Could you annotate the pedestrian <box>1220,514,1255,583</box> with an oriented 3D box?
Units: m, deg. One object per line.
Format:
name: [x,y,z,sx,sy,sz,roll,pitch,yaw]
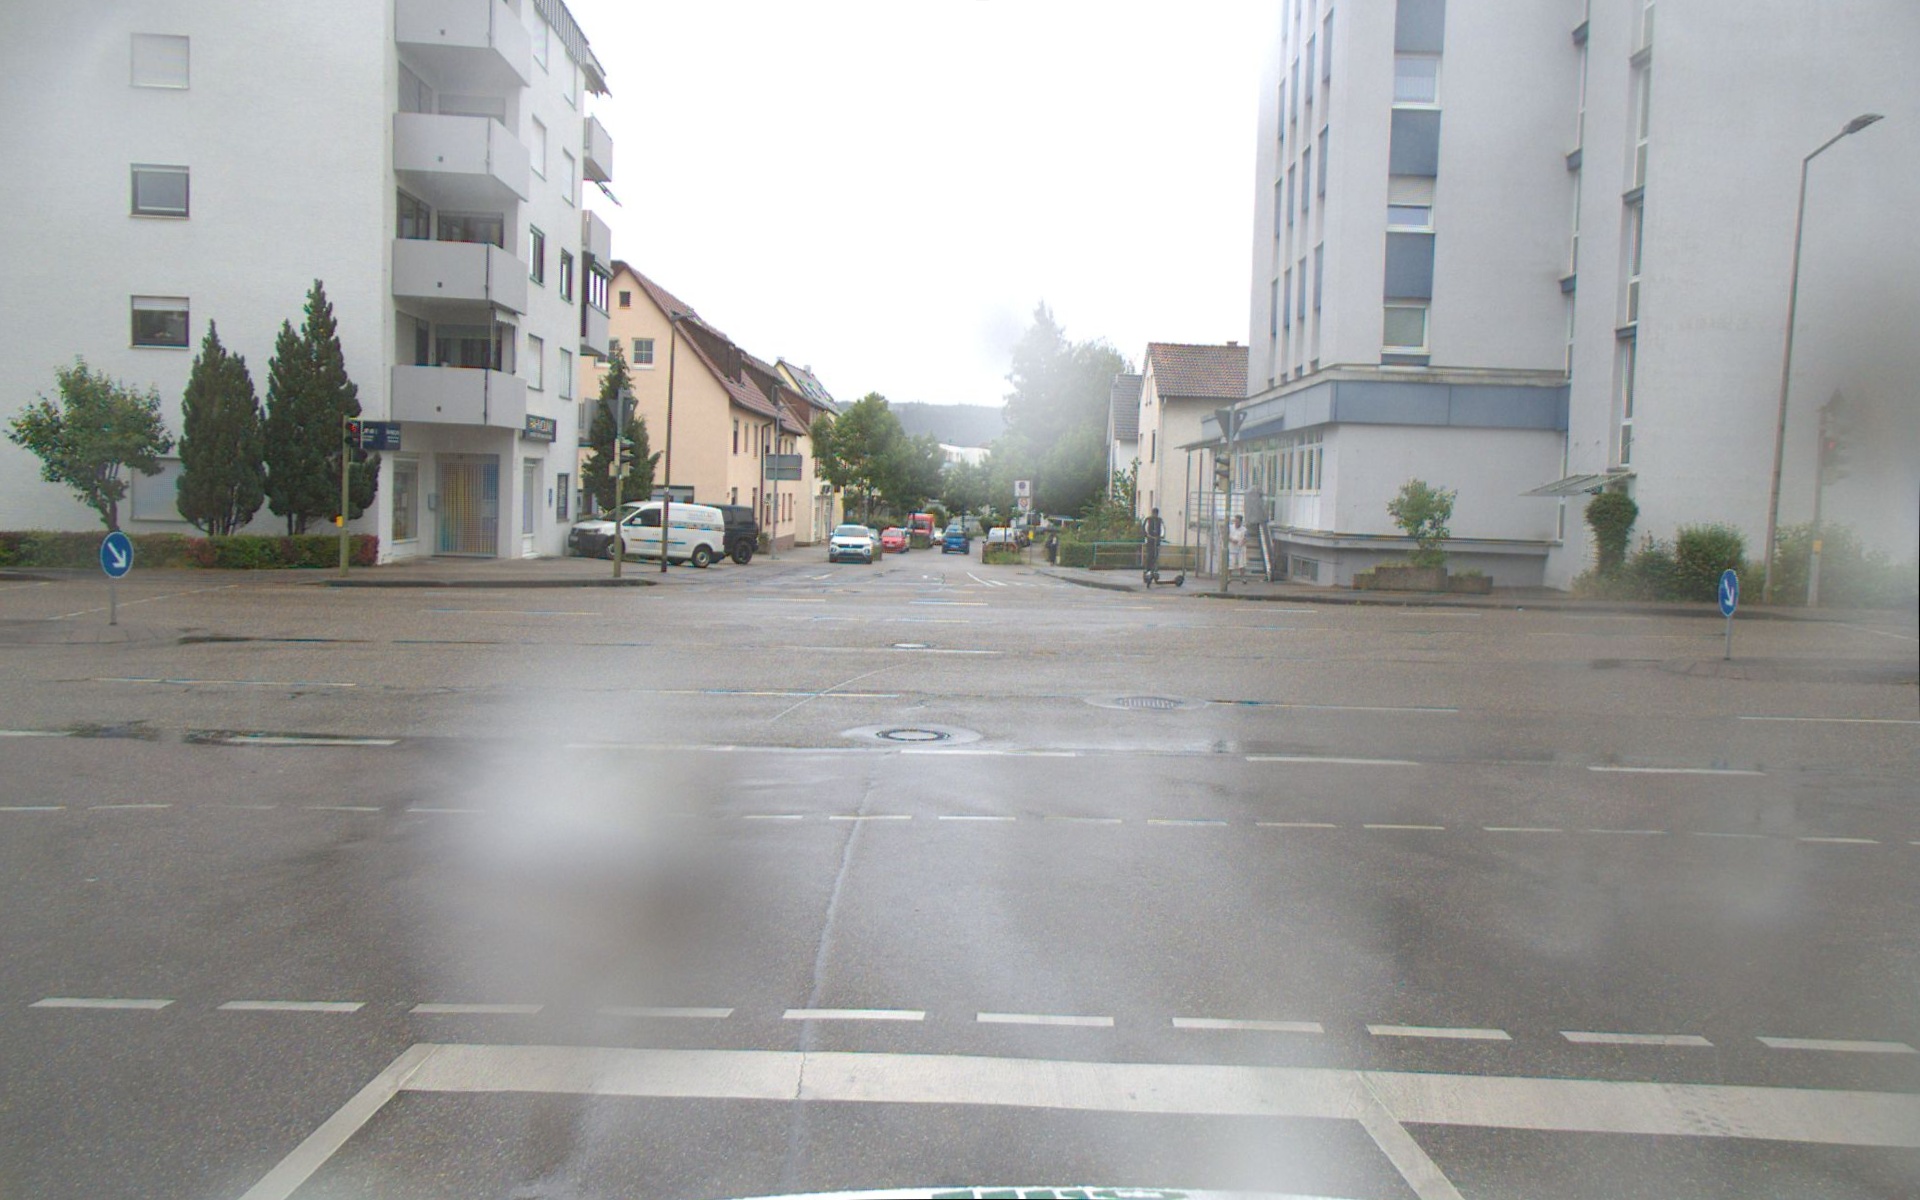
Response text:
pedestrian: [6.934,-1.284,41.306,0.635,1.675,0.525,4,1,-7]

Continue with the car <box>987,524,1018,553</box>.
car: [2.664,-3.917,105.214,1.862,1.775,4.192,0,2,0]

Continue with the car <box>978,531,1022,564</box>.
car: [1.976,-2.655,83.281,2.102,1.616,4.129,0,2,0]

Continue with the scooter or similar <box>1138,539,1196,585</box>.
scooter or similar: [5.039,-0.938,40.291,1.243,1.100,0.876,0,2,-5]

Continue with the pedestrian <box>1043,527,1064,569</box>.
pedestrian: [4.337,-2.419,76.723,0.731,1.880,0.525,4,1,-7]

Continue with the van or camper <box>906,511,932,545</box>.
van or camper: [-3.188,-5.526,128.076,1.862,2.557,4.239,0,2,0]

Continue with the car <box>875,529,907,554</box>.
car: [-4.421,-3.738,105.952,1.862,1.586,4.192,0,2,0]

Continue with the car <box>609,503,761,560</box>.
car: [-9.293,-2.295,56.060,4.796,1.867,1.972,-1,2,-39]

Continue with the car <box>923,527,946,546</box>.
car: [-2.178,-5.368,140.202,1.862,1.586,4.192,0,2,0]

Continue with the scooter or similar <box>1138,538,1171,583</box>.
scooter or similar: [5.193,-1.061,44.163,0.741,1.192,1.315,0,2,1]

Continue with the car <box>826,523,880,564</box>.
car: [-4.467,-2.390,69.503,1.953,1.654,4.192,0,2,0]

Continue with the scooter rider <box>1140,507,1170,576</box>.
scooter rider: [5.198,-1.551,44.033,0.736,1.827,0.673,0,2,2]

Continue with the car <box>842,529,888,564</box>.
car: [-4.618,-2.618,80.905,1.953,1.654,4.192,0,2,0]

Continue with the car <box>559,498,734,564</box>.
car: [-9.271,-2.013,49.092,4.796,1.867,1.972,-1,2,-39]

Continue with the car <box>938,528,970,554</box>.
car: [-0.404,-3.918,110.296,1.953,1.713,3.999,0,2,-2]
